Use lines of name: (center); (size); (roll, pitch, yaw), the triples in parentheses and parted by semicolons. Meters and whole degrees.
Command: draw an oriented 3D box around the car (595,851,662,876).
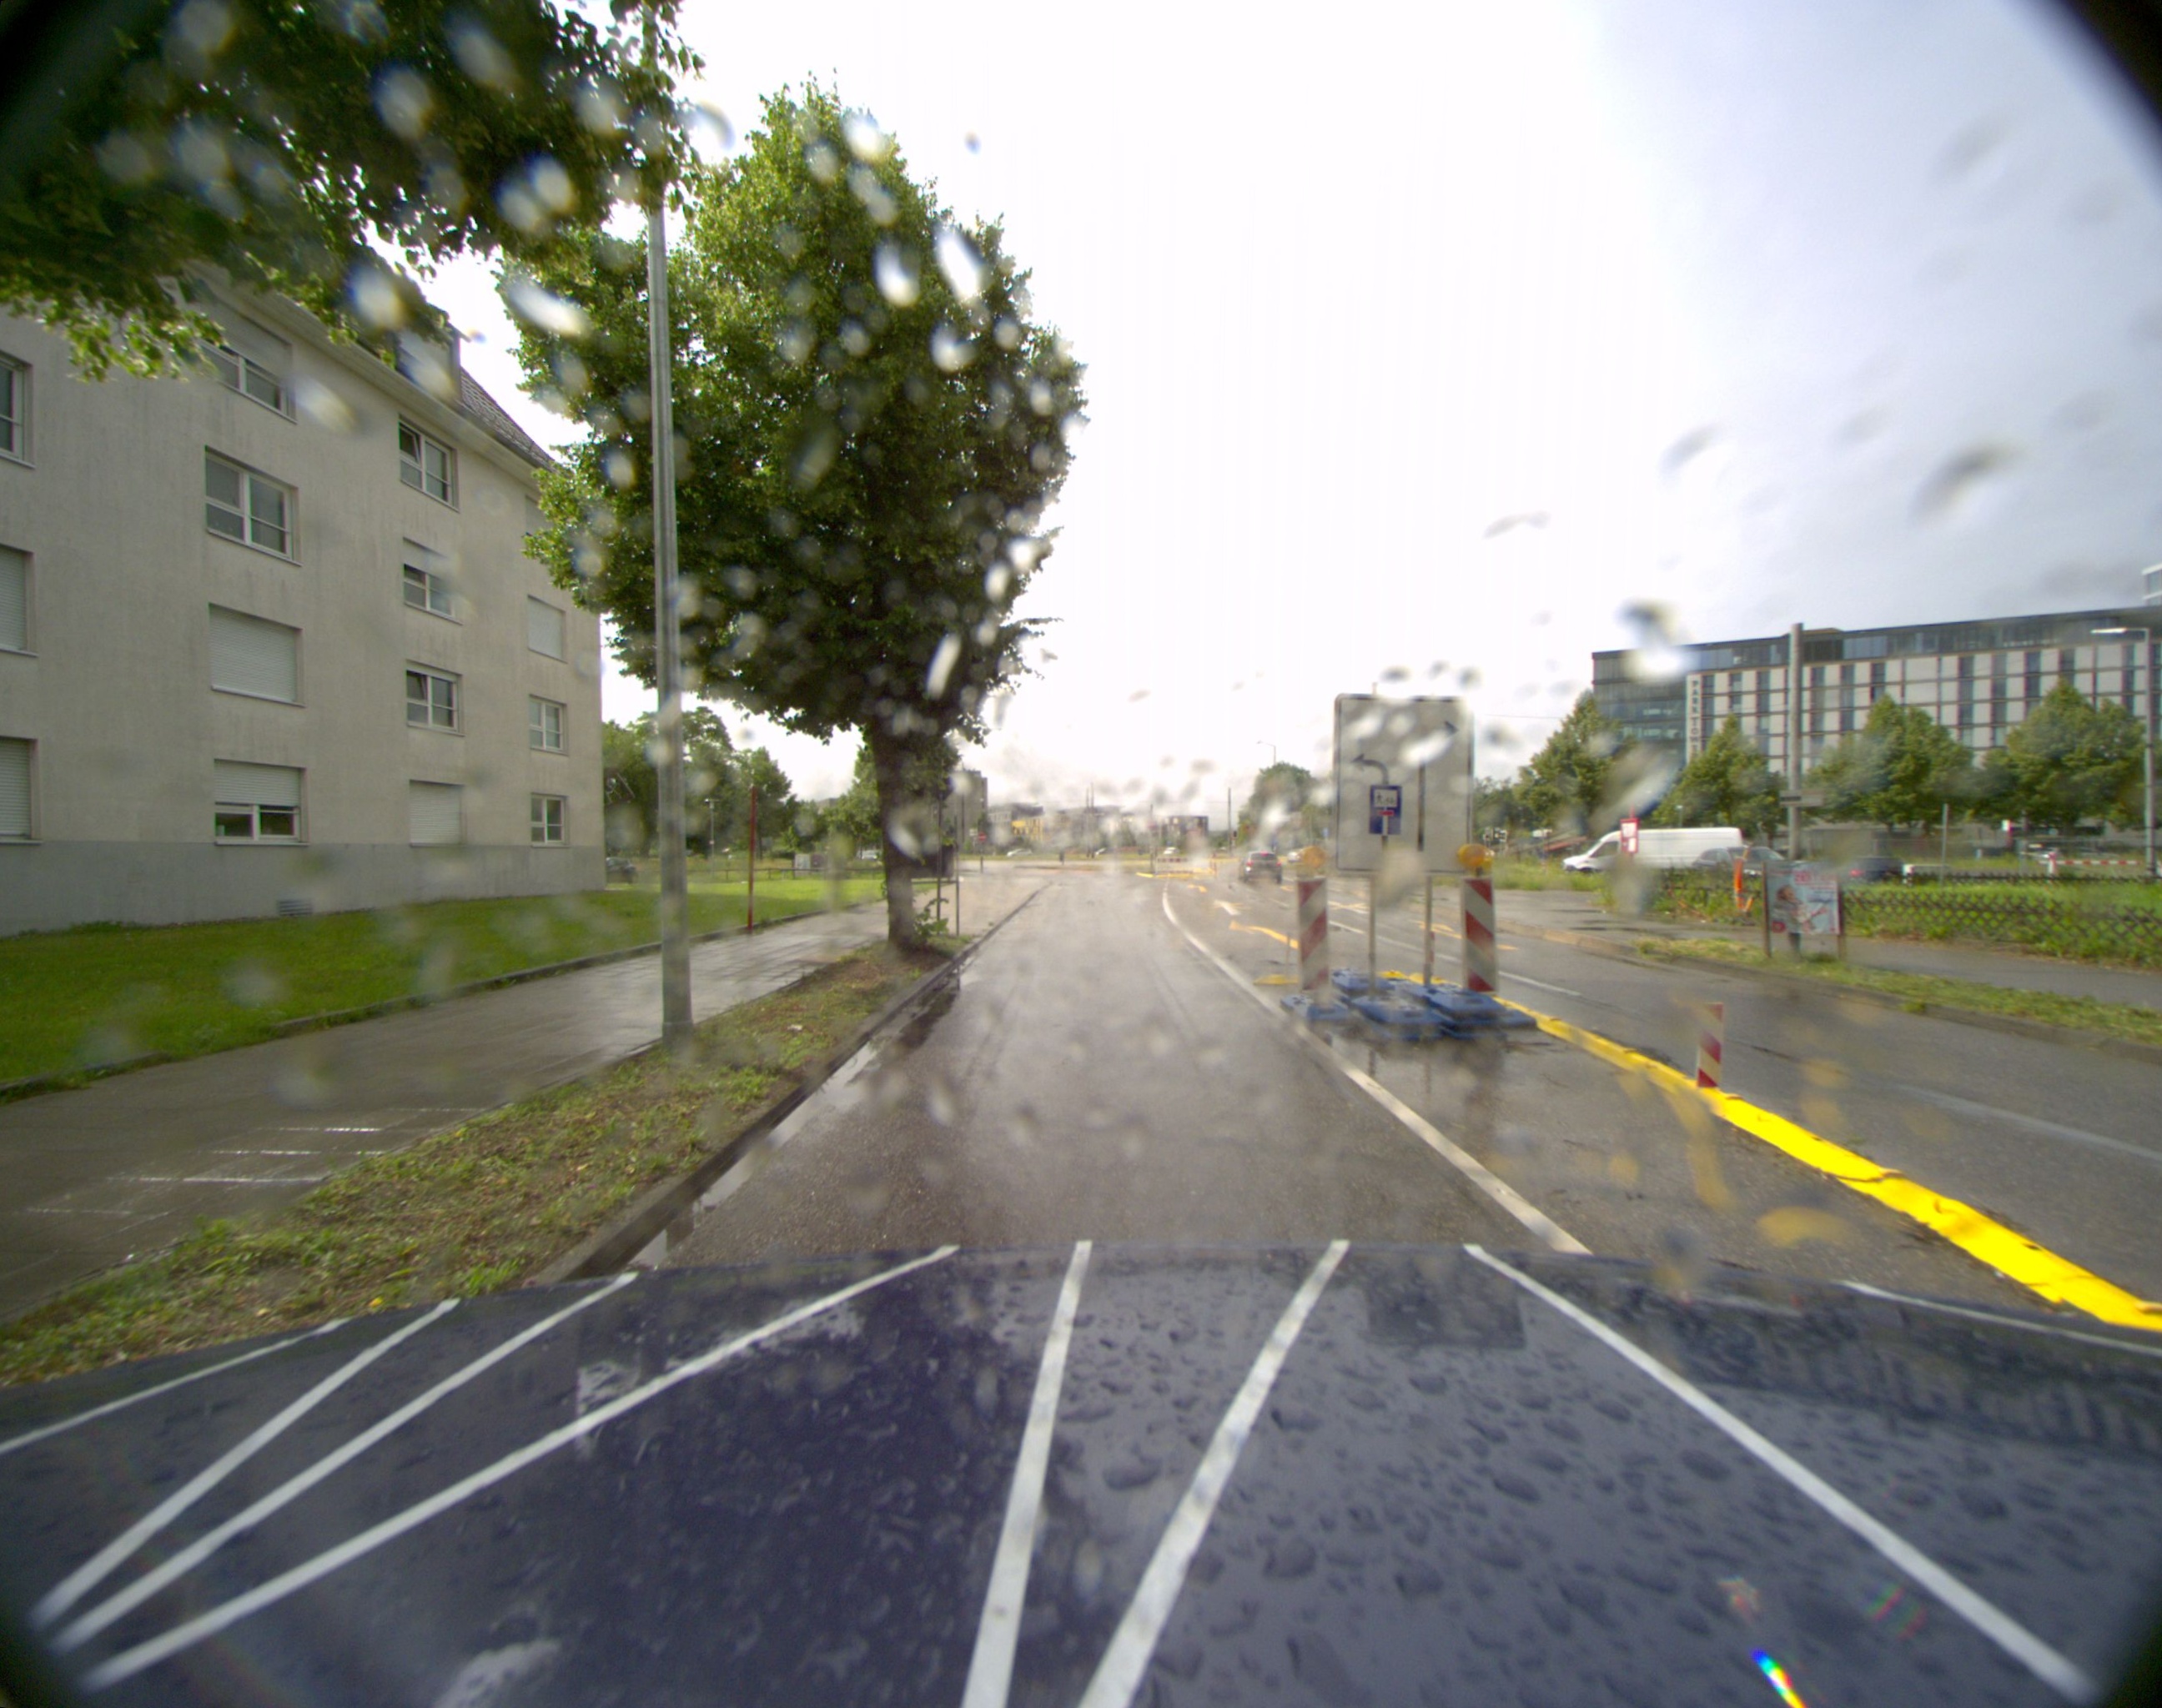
car: (-29.152, 0.593, 49.070); (1.934, 1.539, 3.999); (0, 0, -1)

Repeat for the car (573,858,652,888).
car: (-22.449, 0.871, 36.573); (1.391, 1.318, 3.875); (0, 0, -1)

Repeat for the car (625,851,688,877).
car: (-26.811, 0.590, 48.149); (1.934, 1.539, 3.771); (0, 1, -1)

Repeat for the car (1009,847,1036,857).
car: (-9.381, -0.293, 121.912); (4.124, 1.521, 1.665); (-1, 0, -30)

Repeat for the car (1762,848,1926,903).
car: (24.881, 0.647, 25.031); (1.757, 1.608, 4.262); (-1, 1, 12)

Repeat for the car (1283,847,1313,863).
car: (20.195, 0.081, 70.578); (1.739, 1.406, 4.187); (0, 1, 29)

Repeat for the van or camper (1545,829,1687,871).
van or camper: (29.719, -0.225, 42.559); (6.381, 2.176, 2.445); (0, 1, 31)

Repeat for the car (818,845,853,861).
car: (-26.615, -0.121, 82.470); (4.217, 1.704, 1.897); (1, 1, 45)

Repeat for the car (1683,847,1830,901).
car: (22.406, 0.608, 25.444); (1.757, 1.608, 4.330); (-1, 1, 12)

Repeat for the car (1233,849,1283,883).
car: (8.348, 0.530, 36.138); (1.683, 1.499, 3.794); (0, 1, 3)

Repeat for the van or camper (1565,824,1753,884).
van or camper: (27.448, -0.010, 36.534); (6.963, 2.632, 2.516); (0, 1, 31)

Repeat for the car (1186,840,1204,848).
car: (21.722, -1.887, 144.672); (1.664, 1.521, 3.487); (-1, 0, 39)
